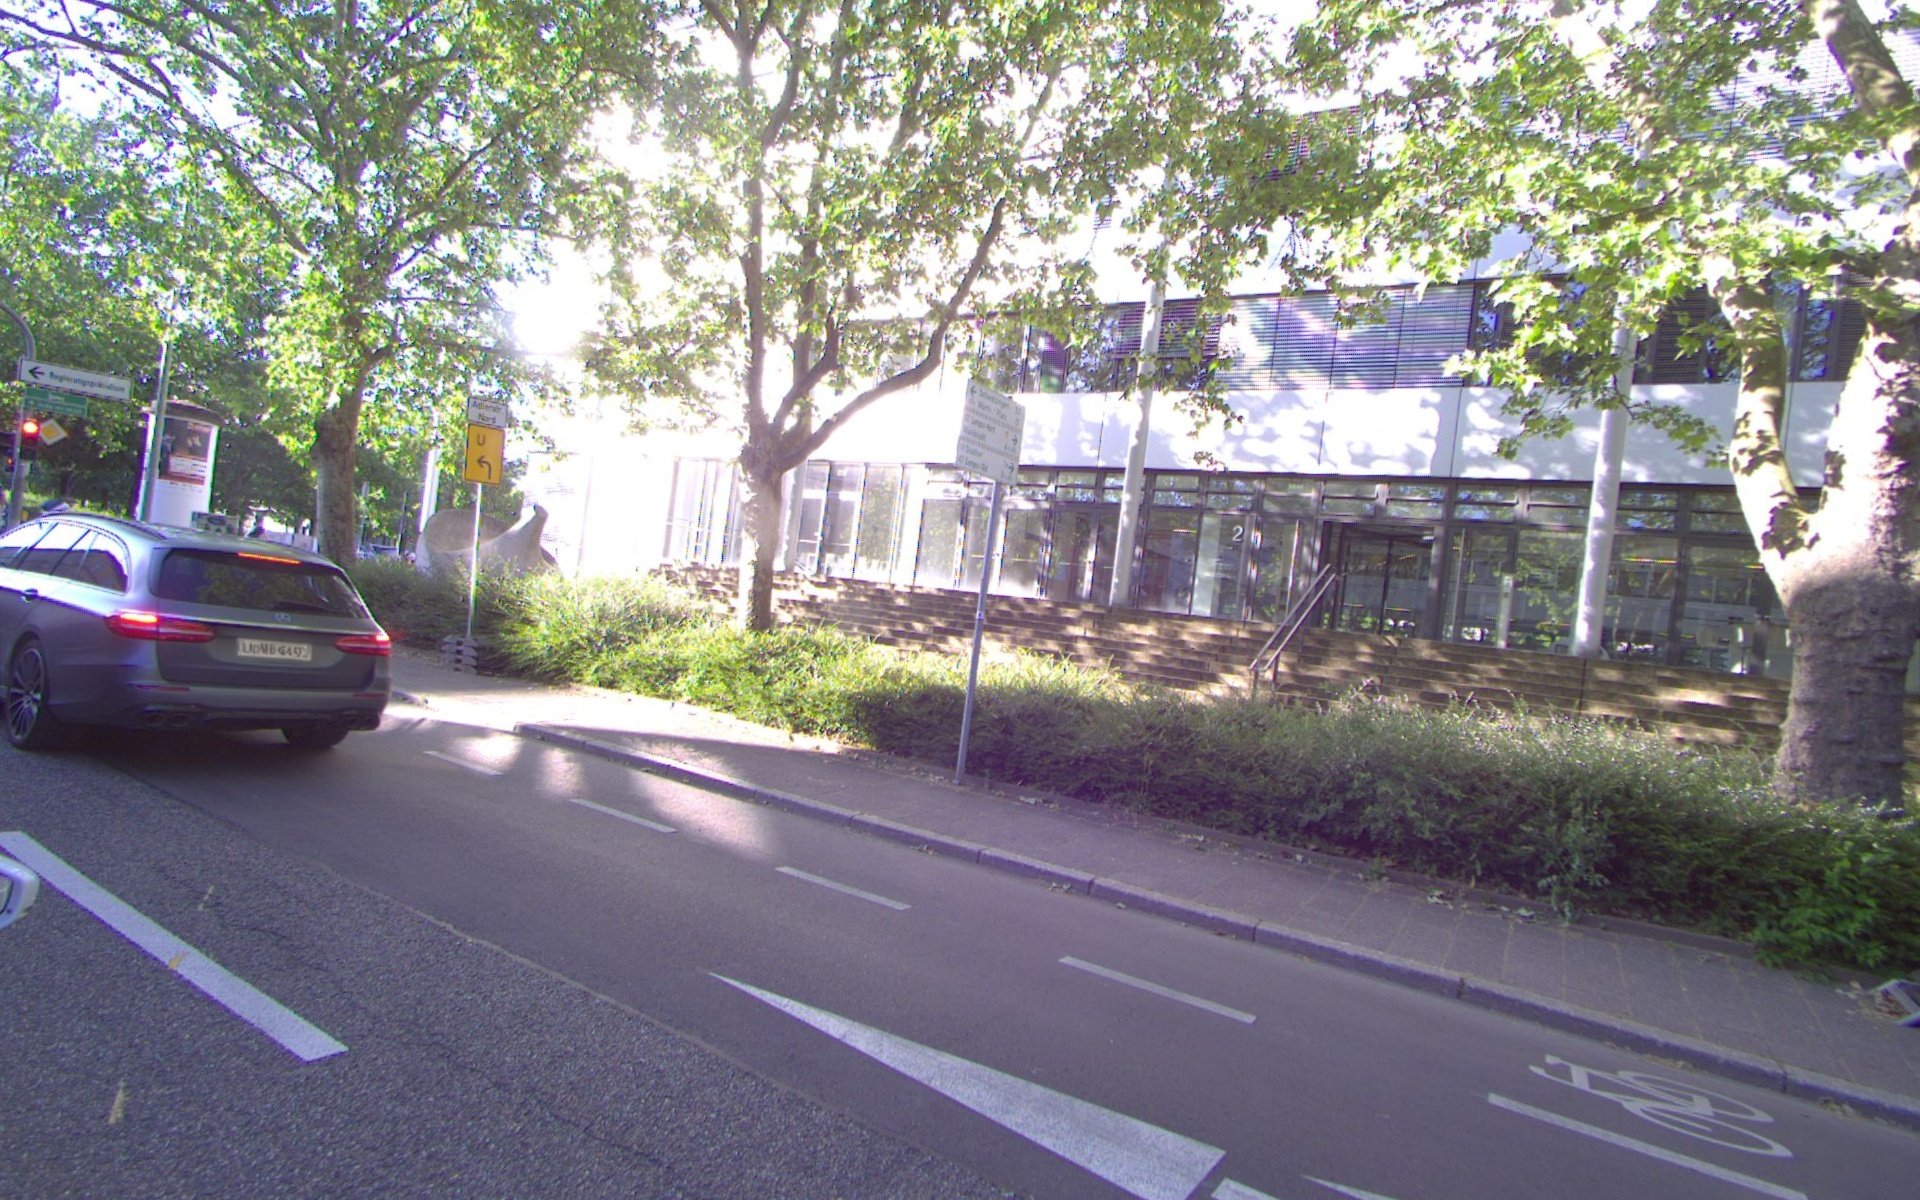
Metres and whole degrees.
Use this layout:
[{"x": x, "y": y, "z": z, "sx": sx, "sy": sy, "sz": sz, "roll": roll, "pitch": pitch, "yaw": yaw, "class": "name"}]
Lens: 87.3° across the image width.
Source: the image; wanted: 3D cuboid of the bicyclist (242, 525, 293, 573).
[{"x": -22.994, "y": -1.681, "z": 33.421, "sx": 0.647, "sy": 1.419, "sz": 1.104, "roll": 7, "pitch": -1, "yaw": 35, "class": "bicyclist"}]

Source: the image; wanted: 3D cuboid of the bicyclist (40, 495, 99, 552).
[{"x": -26.590, "y": -2.279, "z": 30.041, "sx": 0.706, "sy": 1.537, "sz": 1.075, "roll": 7, "pitch": 0, "yaw": 36, "class": "bicyclist"}]

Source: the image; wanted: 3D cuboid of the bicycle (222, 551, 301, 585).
[{"x": -23.117, "y": -1.059, "z": 33.336, "sx": 0.666, "sy": 0.846, "sz": 1.976, "roll": 7, "pitch": -1, "yaw": 35, "class": "bicycle"}]

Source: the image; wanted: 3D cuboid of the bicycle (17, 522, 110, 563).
[{"x": -26.702, "y": -1.704, "z": 29.998, "sx": 0.714, "sy": 0.893, "sz": 1.895, "roll": 7, "pitch": -1, "yaw": 35, "class": "bicycle"}]

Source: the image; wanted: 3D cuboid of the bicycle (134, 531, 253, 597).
[{"x": -15.901, "y": -0.723, "z": 20.908, "sx": 0.502, "sy": 1.110, "sz": 1.806, "roll": 7, "pitch": -1, "yaw": 34, "class": "bicycle"}]

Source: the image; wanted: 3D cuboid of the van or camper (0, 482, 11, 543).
[{"x": -32.846, "y": -3.095, "z": 31.208, "sx": 4.557, "sy": 1.964, "sz": 1.980, "roll": 9, "pitch": -1, "yaw": -37, "class": "van or camper"}]

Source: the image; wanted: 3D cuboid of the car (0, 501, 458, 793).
[{"x": -6.020, "y": 0.176, "z": 7.391, "sx": 4.592, "sy": 1.481, "sz": 1.917, "roll": 7, "pitch": -2, "yaw": 32, "class": "car"}]
